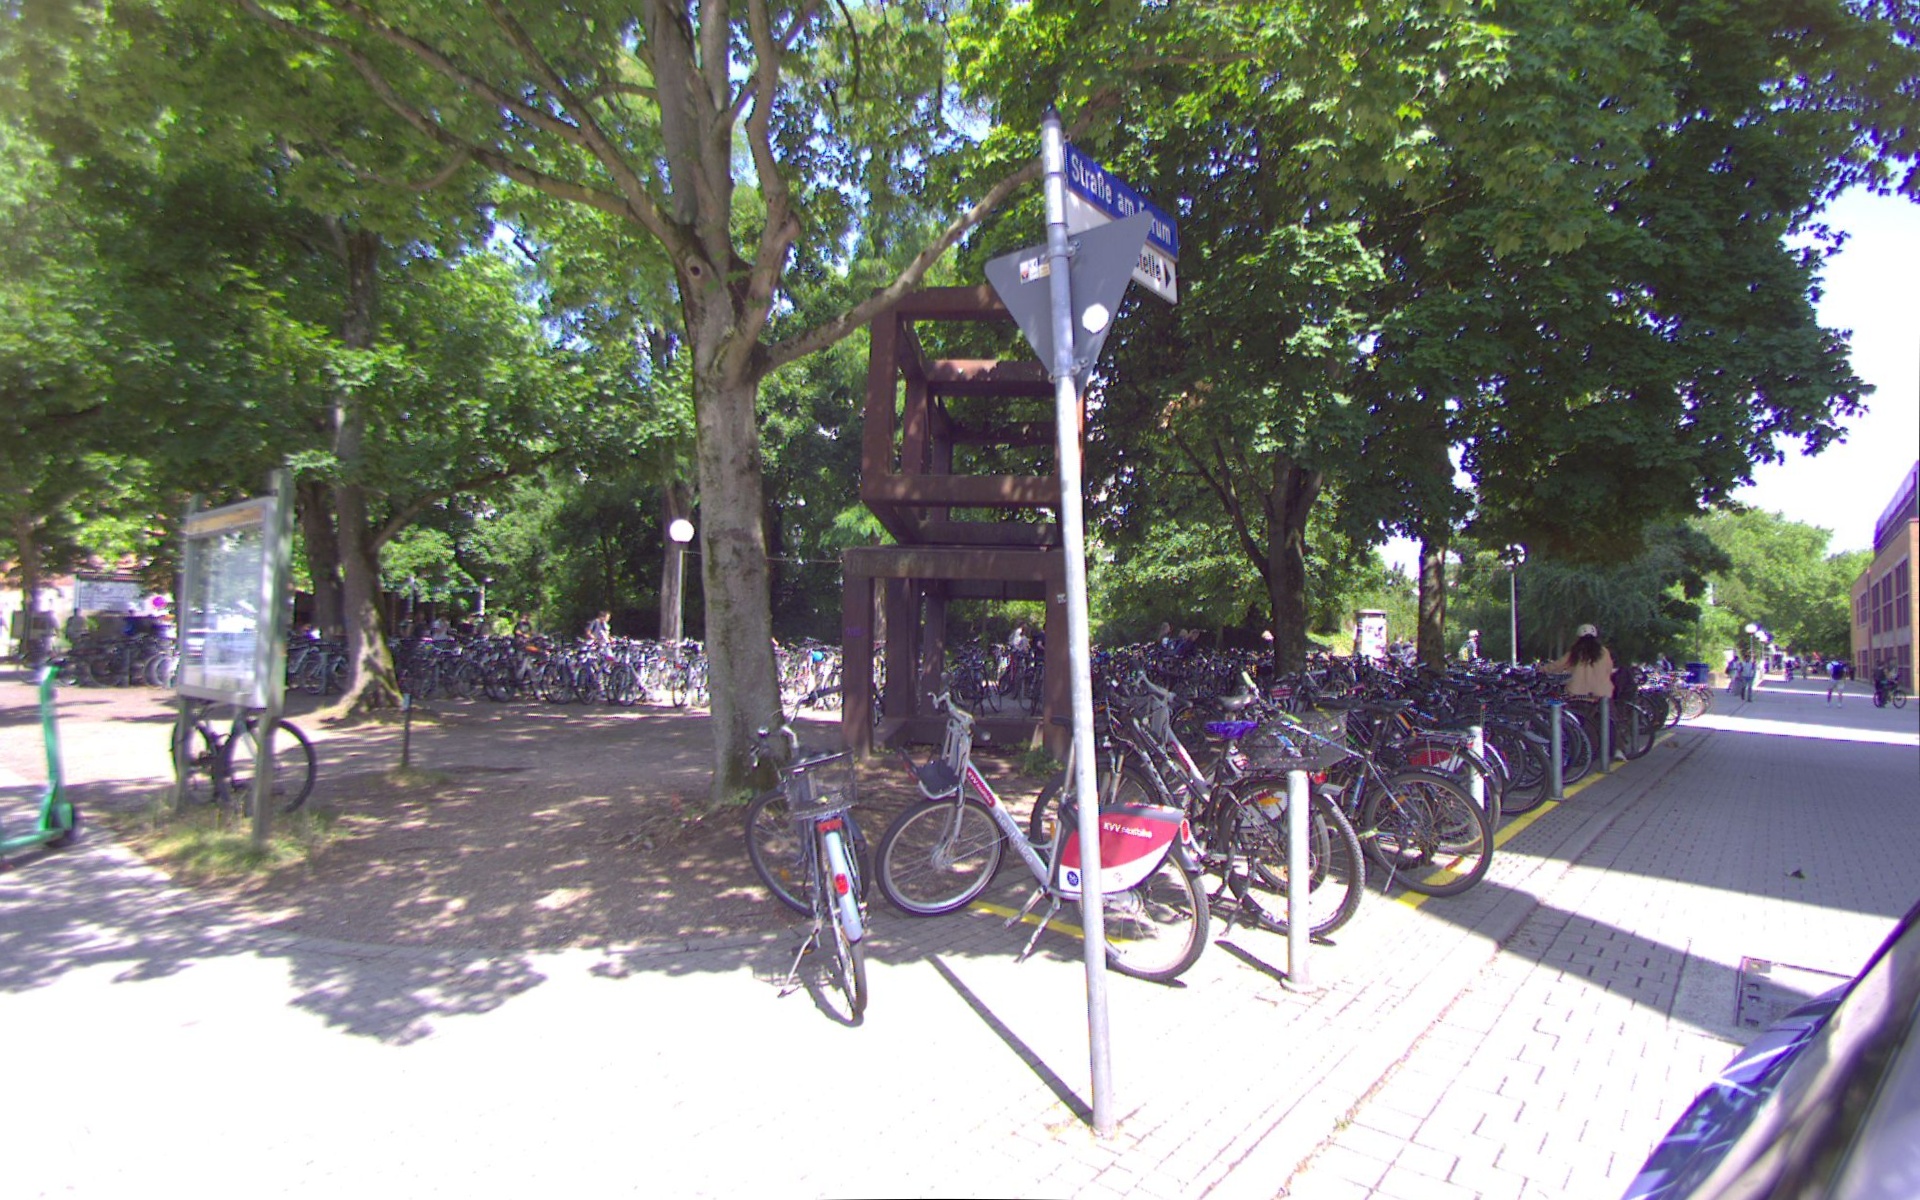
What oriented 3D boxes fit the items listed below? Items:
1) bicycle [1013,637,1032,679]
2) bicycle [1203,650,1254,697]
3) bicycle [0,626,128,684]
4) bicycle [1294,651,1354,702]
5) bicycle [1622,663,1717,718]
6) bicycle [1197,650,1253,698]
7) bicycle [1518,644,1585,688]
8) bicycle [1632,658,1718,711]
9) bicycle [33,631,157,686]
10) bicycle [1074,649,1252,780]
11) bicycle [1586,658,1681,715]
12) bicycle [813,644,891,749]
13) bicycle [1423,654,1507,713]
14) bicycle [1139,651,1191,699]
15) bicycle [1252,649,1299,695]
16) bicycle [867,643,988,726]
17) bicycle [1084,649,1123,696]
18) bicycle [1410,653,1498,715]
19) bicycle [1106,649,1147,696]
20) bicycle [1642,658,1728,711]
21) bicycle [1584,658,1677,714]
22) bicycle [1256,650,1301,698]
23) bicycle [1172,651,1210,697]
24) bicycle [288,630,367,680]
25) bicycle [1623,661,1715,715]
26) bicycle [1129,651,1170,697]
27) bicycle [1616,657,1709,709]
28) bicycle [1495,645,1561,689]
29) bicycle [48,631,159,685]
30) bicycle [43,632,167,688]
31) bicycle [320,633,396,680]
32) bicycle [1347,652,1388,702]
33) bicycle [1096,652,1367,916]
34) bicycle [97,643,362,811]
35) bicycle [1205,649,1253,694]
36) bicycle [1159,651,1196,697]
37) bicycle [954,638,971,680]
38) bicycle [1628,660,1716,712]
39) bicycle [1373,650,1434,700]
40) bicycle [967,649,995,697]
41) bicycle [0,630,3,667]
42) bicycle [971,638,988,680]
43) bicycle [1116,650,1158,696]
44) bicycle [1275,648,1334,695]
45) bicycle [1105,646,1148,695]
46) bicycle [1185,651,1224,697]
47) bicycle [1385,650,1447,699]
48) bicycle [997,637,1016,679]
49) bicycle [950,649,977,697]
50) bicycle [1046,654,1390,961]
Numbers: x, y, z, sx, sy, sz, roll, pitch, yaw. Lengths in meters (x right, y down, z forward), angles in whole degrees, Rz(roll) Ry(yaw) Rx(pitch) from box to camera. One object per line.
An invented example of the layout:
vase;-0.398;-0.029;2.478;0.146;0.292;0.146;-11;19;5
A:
bicycle;1.535;1.423;25.038;0.396;0.991;1.596;0;-2;0
bicycle;6.694;1.816;25.296;0.345;1.098;1.474;5;-4;-24
bicycle;-19.331;1.170;21.828;0.646;1.182;2.000;0;-2;28
bicycle;8.263;1.717;23.016;0.468;1.098;1.474;4;-4;-17
bicycle;15.554;1.971;22.227;1.677;1.098;0.522;1;-5;36
bicycle;5.967;1.643;22.867;0.469;0.991;1.906;0;-2;-10
bicycle;15.663;1.742;26.827;0.469;1.098;1.691;4;-4;-14
bicycle;17.204;2.020;24.399;1.677;1.165;0.544;1;-5;36
bicycle;-18.065;1.214;21.195;0.401;1.096;1.930;0;-2;28
bicycle;1.978;1.087;10.082;0.456;1.091;1.824;1;0;-42
bicycle;14.364;1.838;21.604;1.677;1.098;0.472;1;-5;36
bicycle;-1.229;1.084;11.881;0.621;1.124;1.922;0;-3;3
bicycle;9.935;1.622;19.946;1.458;1.098;0.349;0;-3;28
bicycle;4.556;1.653;22.600;0.469;0.991;1.906;0;-2;-10
bicycle;7.963;1.806;25.565;0.469;1.098;1.689;3;-4;-6
bicycle;-0.443;1.170;14.073;1.640;1.124;0.475;0;-3;4
bicycle;3.516;1.774;24.811;0.345;1.098;1.474;4;-4;-15
bicycle;9.348;1.573;19.189;1.463;1.098;0.348;-1;-3;37
bicycle;4.099;1.770;24.945;0.345;1.098;1.474;4;-4;-16
bicycle;17.713;2.054;24.758;1.677;1.165;0.544;1;-5;36
bicycle;14.674;1.875;22.165;1.677;1.098;0.522;1;-5;36
bicycle;7.152;1.639;22.791;0.470;0.991;1.902;0;-2;2
bicycle;5.736;1.823;25.176;0.345;1.098;1.473;4;-4;-9
bicycle;-14.501;1.243;23.191;1.879;1.097;0.475;-1;-2;20
bicycle;15.853;1.963;22.656;1.677;1.098;0.522;1;-5;36
bicycle;4.727;1.828;25.291;0.345;1.098;1.474;4;-4;-16
bicycle;16.177;1.891;23.318;0.519;1.098;1.686;6;-5;-39
bicycle;14.889;1.750;26.583;0.469;1.098;1.691;4;-4;-13
bicycle;-18.258;1.212;21.614;0.434;1.096;1.755;0;-2;28
bicycle;-17.686;1.222;20.997;0.401;1.096;1.930;0;-2;28
bicycle;-14.366;1.329;24.148;1.879;1.097;0.475;-1;-2;20
bicycle;9.397;1.767;23.371;0.446;1.098;1.469;3;-4;5
bicycle;1.420;0.908;5.559;0.482;1.156;1.528;1;0;-30
bicycle;-5.202;0.889;7.222;1.665;1.098;0.625;-2;-5;17
bicycle;6.862;1.811;25.866;0.345;1.098;1.474;4;-4;-20
bicycle;5.391;1.826;25.116;0.345;1.098;1.473;4;-4;-9
bicycle;0.064;1.430;24.875;0.396;0.991;1.596;0;-2;0
bicycle;16.730;2.018;23.804;1.677;1.098;0.522;1;-5;36
bicycle;10.352;1.745;23.675;0.345;1.098;1.474;5;-4;-22
bicycle;0.452;1.599;22.514;0.469;0.991;1.904;0;-2;-4
bicycle;-34.130;1.680;35.185;1.716;1.268;0.528;0;-1;20
bicycle;0.466;1.428;24.859;0.396;0.991;1.596;0;-2;0
bicycle;4.392;1.799;25.191;0.345;1.098;1.474;4;-4;-16
bicycle;8.685;1.793;25.606;0.468;1.098;1.691;4;-4;-18
bicycle;3.663;1.542;22.384;0.469;0.991;1.905;0;-2;-5
bicycle;6.090;1.821;25.232;0.345;1.098;1.473;4;-4;-9
bicycle;10.714;1.741;23.822;0.345;1.098;1.474;5;-4;-22
bicycle;1.146;1.422;25.052;0.396;0.991;1.596;0;-2;0
bicycle;0.072;1.599;22.503;0.469;0.991;1.904;0;-2;-4
bicycle;1.186;0.882;4.801;1.481;1.156;0.554;1;0;38
